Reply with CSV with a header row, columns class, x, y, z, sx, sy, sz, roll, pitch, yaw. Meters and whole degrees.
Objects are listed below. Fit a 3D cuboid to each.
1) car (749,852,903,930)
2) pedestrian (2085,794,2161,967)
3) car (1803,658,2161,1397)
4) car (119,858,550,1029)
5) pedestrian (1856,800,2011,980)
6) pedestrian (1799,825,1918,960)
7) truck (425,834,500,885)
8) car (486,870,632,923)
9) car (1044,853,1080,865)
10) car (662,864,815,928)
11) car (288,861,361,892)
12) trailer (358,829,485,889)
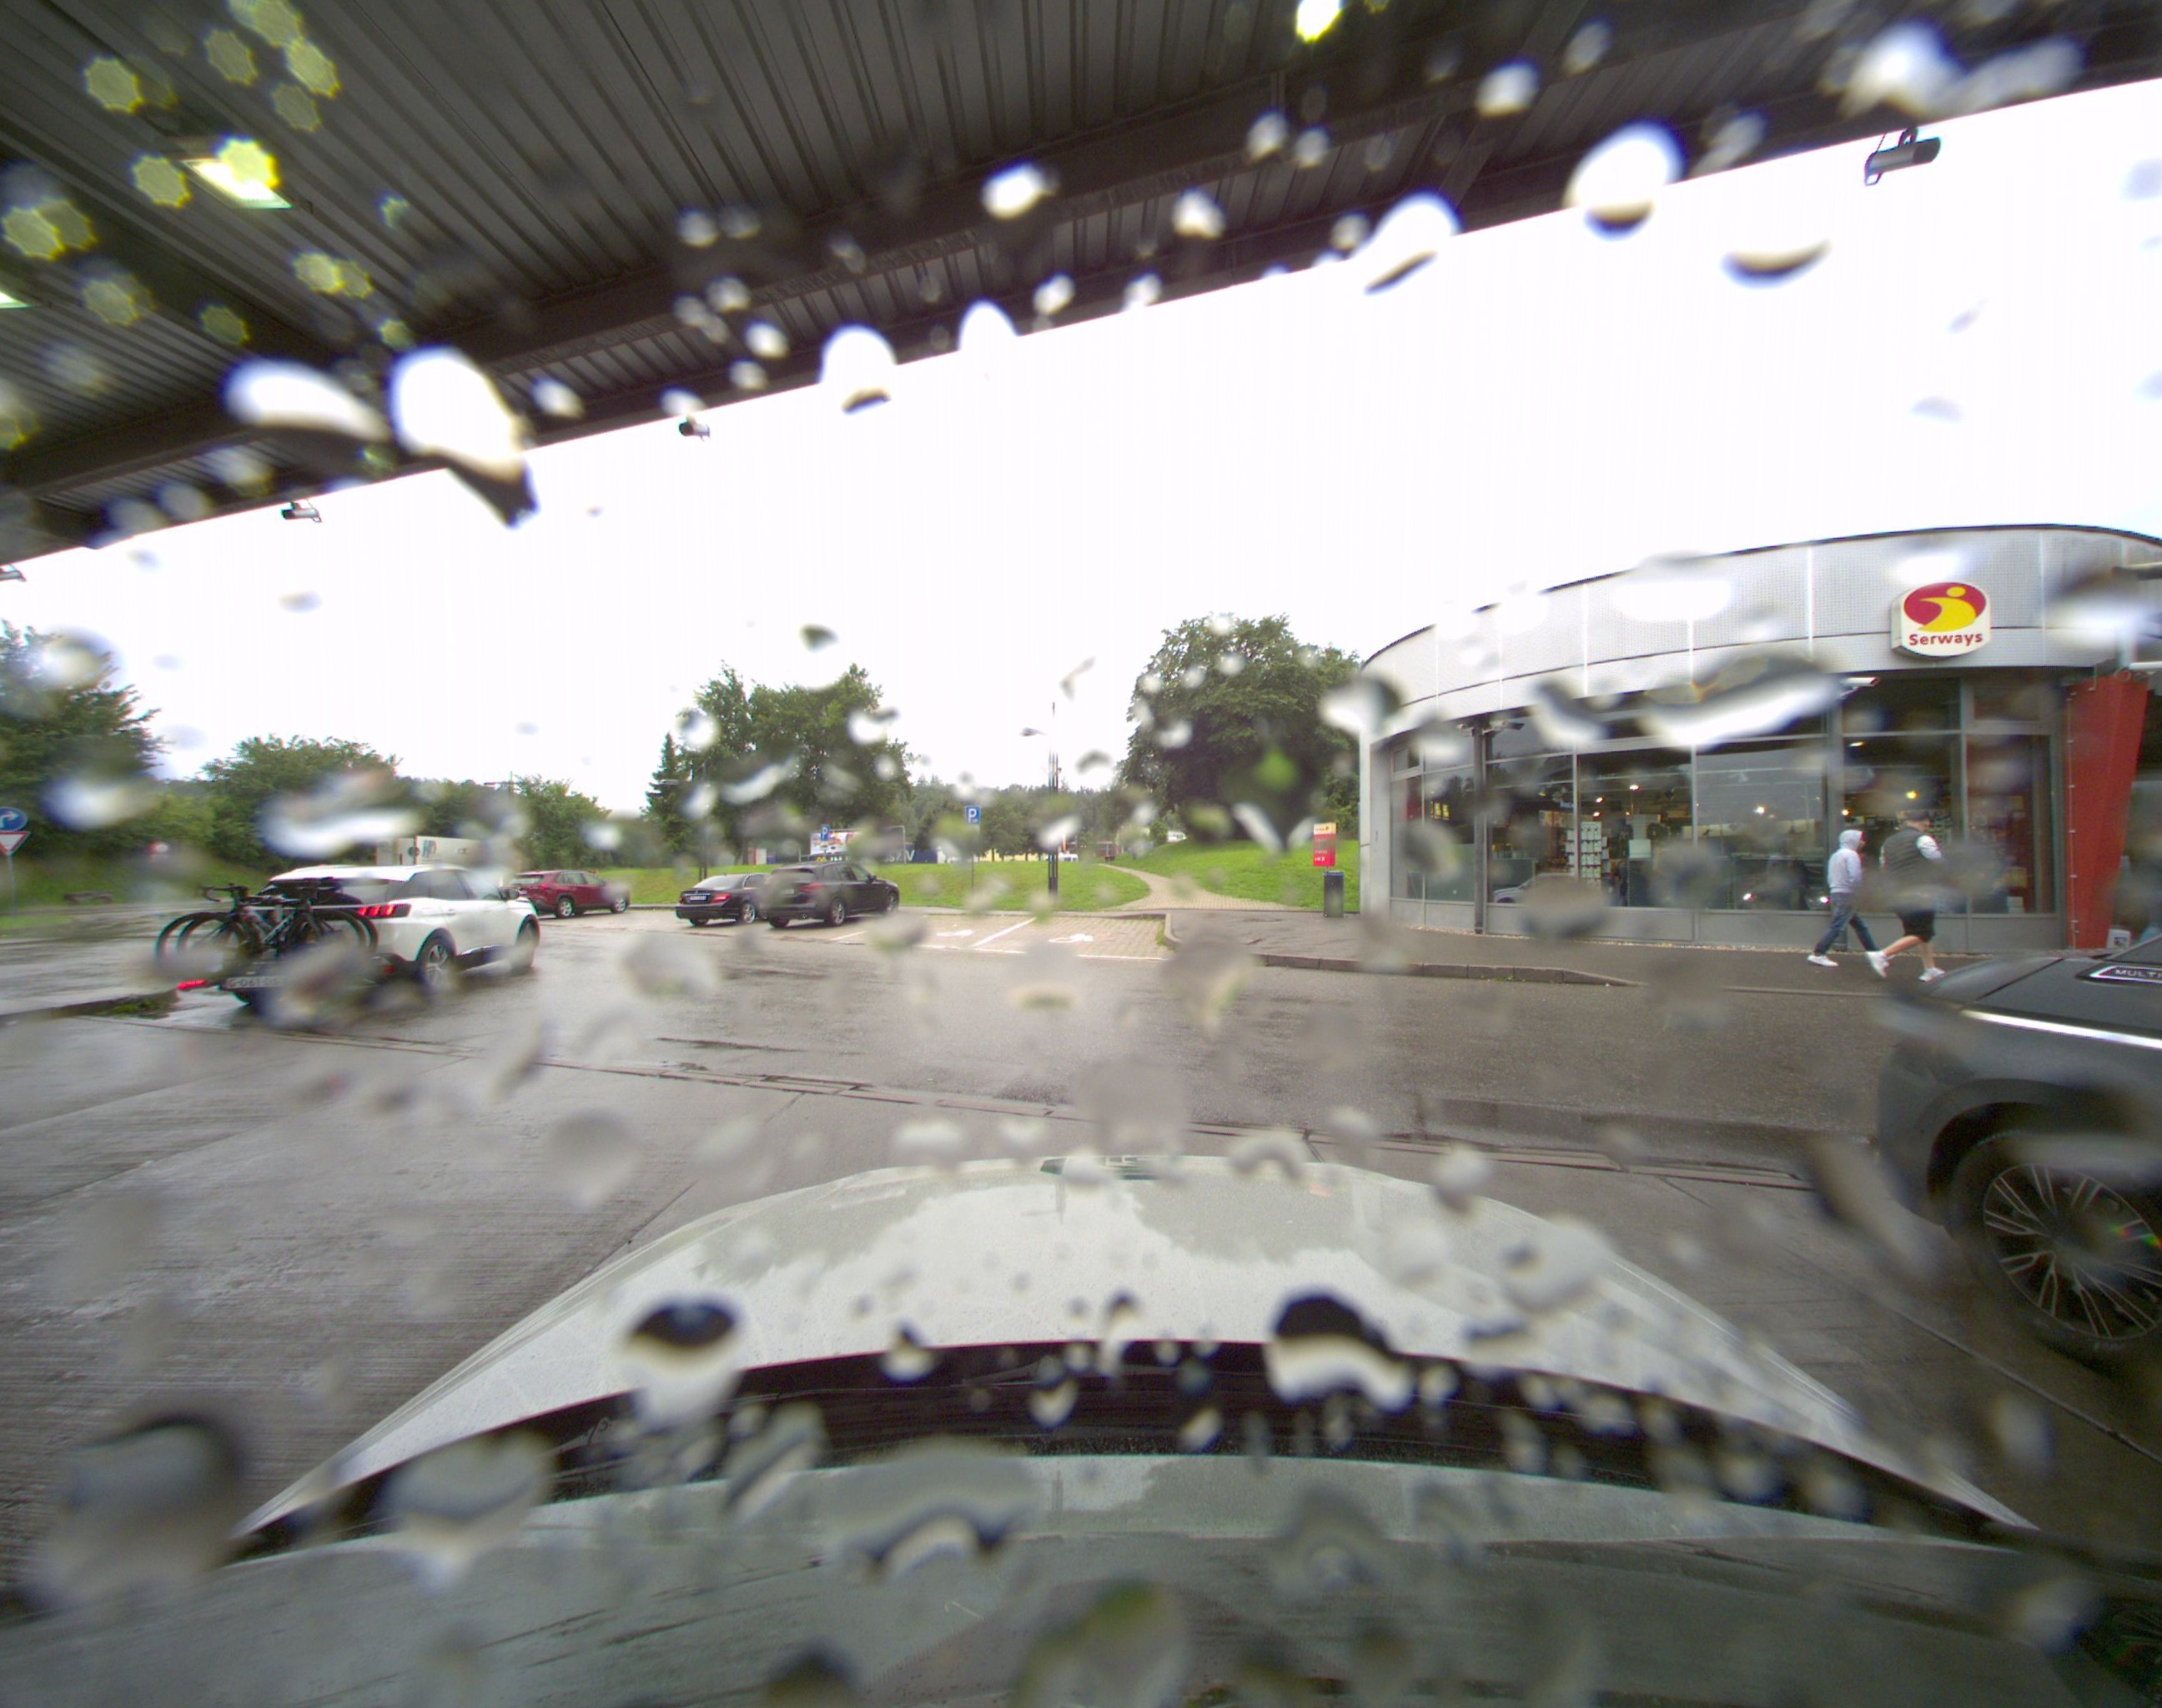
class,x,y,z,sx,sy,sz,roll,pitch,yaw
car,-6.616,0.888,21.726,1.871,1.828,4.429,-2,0,13
pedestrian,12.088,0.275,8.999,0.989,1.864,0.804,-2,0,30
car,3.716,0.451,1.215,1.809,1.948,4.002,-1,0,2
car,-8.657,0.847,10.208,1.817,1.565,4.979,0,0,-14
pedestrian,9.324,0.376,8.963,0.963,1.848,0.778,-2,0,30
pedestrian,9.368,0.442,9.847,0.880,1.550,0.665,-2,0,31
truck,-57.108,0.503,75.406,3.467,4.557,6.694,0,-1,-18
car,-18.146,1.417,28.591,1.873,1.596,4.364,-2,0,8
car,-3.180,0.802,134.063,5.376,2.013,2.468,-1,0,21
car,-9.617,1.138,23.283,1.871,1.565,4.200,-2,0,13
car,-49.239,1.419,53.114,1.934,1.838,4.361,-1,0,-20
trailer,-54.886,0.429,68.466,3.466,4.557,13.827,0,-1,-18
